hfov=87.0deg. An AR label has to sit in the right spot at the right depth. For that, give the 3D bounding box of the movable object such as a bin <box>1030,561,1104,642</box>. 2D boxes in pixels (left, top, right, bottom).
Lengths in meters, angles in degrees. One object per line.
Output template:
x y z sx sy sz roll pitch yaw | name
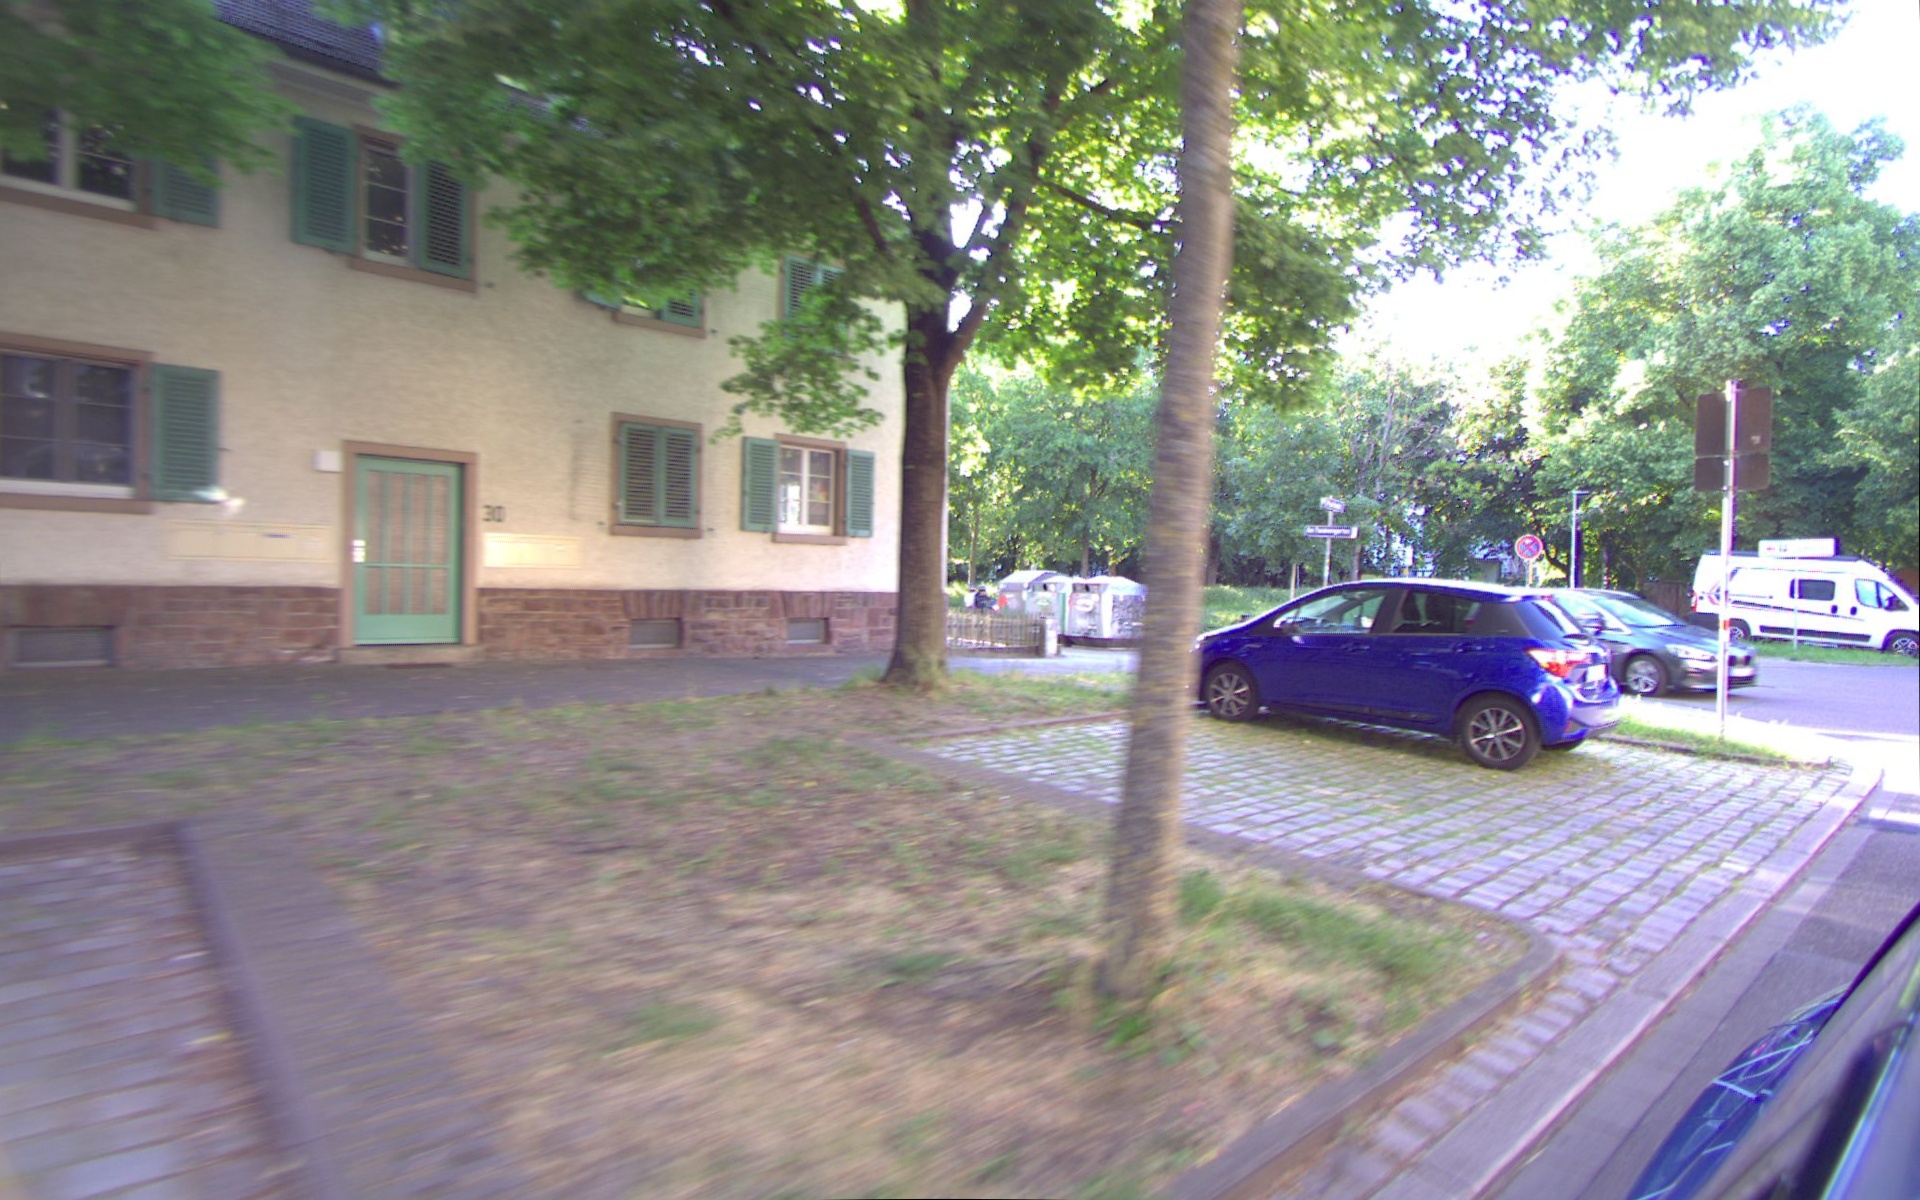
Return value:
2.539 0.006 24.183 1.129 1.850 1.387 -1 2 -34 | movable object such as a bin

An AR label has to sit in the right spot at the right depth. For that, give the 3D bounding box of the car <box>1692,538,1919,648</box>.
22.797 -0.246 26.425 2.201 2.646 5.621 -1 3 -42 | car

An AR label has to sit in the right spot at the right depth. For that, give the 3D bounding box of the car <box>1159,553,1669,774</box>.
4.143 0.387 9.685 1.967 1.574 3.992 -2 4 -43 | car

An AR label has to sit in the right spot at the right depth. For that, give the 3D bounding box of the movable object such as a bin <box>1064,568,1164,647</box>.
3.477 0.132 22.947 1.561 1.678 1.640 -1 2 -34 | movable object such as a bin

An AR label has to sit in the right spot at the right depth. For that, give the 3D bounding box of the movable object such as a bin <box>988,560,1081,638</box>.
1.869 -0.059 25.507 1.890 1.876 1.394 -1 2 -35 | movable object such as a bin

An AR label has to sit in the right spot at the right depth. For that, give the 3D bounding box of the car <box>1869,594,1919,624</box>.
43.856 0.442 45.795 1.755 1.271 3.873 -2 3 -43 | car

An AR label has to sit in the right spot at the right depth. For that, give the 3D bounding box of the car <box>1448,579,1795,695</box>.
10.752 0.481 16.916 1.851 1.642 4.628 -1 1 -22 | car

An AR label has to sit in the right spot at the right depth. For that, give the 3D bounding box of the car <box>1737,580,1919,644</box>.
24.641 0.280 28.351 1.945 1.594 4.291 -2 3 -43 | car
